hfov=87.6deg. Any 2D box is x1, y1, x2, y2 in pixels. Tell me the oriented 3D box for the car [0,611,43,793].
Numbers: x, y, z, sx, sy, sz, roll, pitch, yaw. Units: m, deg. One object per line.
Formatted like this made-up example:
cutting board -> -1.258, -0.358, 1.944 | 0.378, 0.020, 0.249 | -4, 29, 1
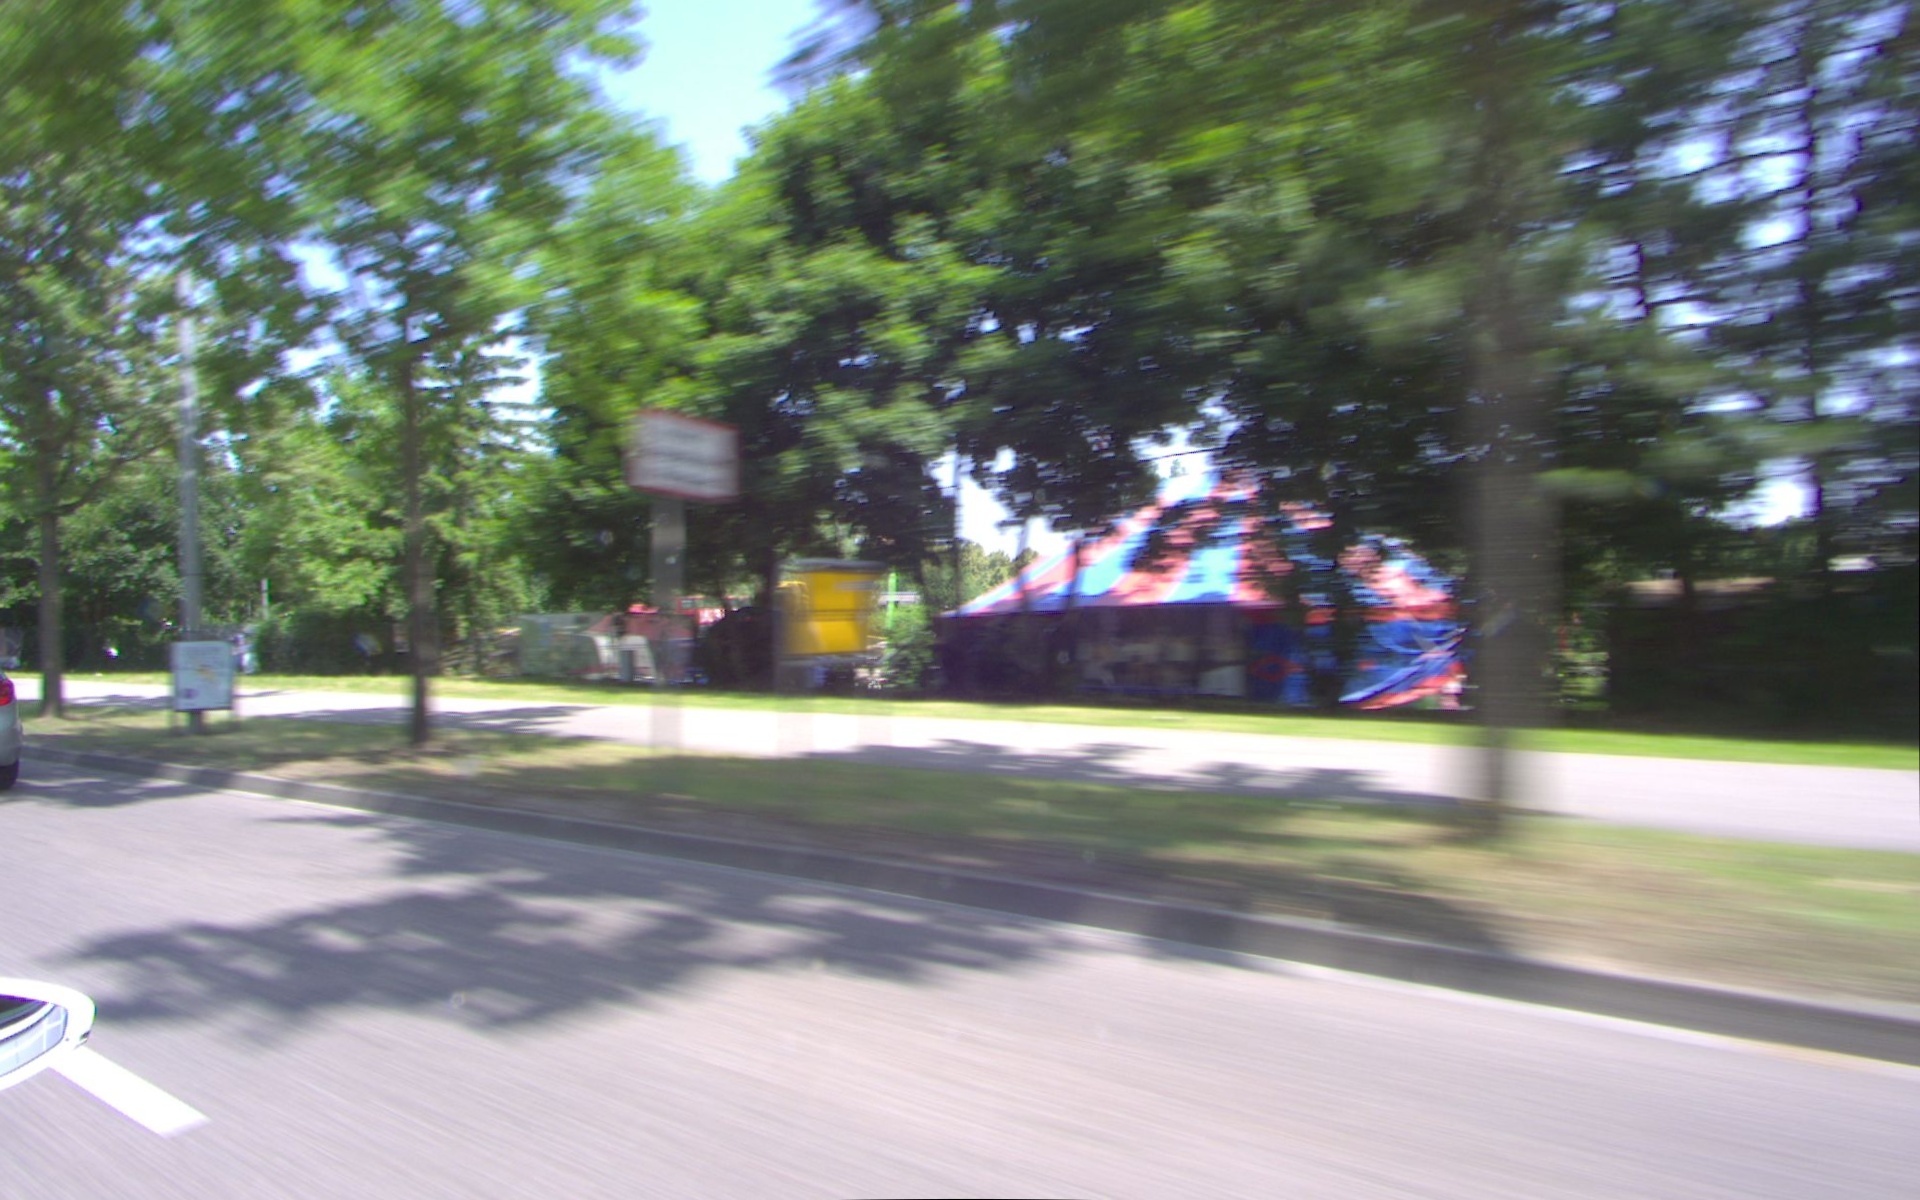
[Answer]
car -> -10.543, 0.916, 9.502 | 3.835, 1.632, 1.789 | -1, -1, 33
